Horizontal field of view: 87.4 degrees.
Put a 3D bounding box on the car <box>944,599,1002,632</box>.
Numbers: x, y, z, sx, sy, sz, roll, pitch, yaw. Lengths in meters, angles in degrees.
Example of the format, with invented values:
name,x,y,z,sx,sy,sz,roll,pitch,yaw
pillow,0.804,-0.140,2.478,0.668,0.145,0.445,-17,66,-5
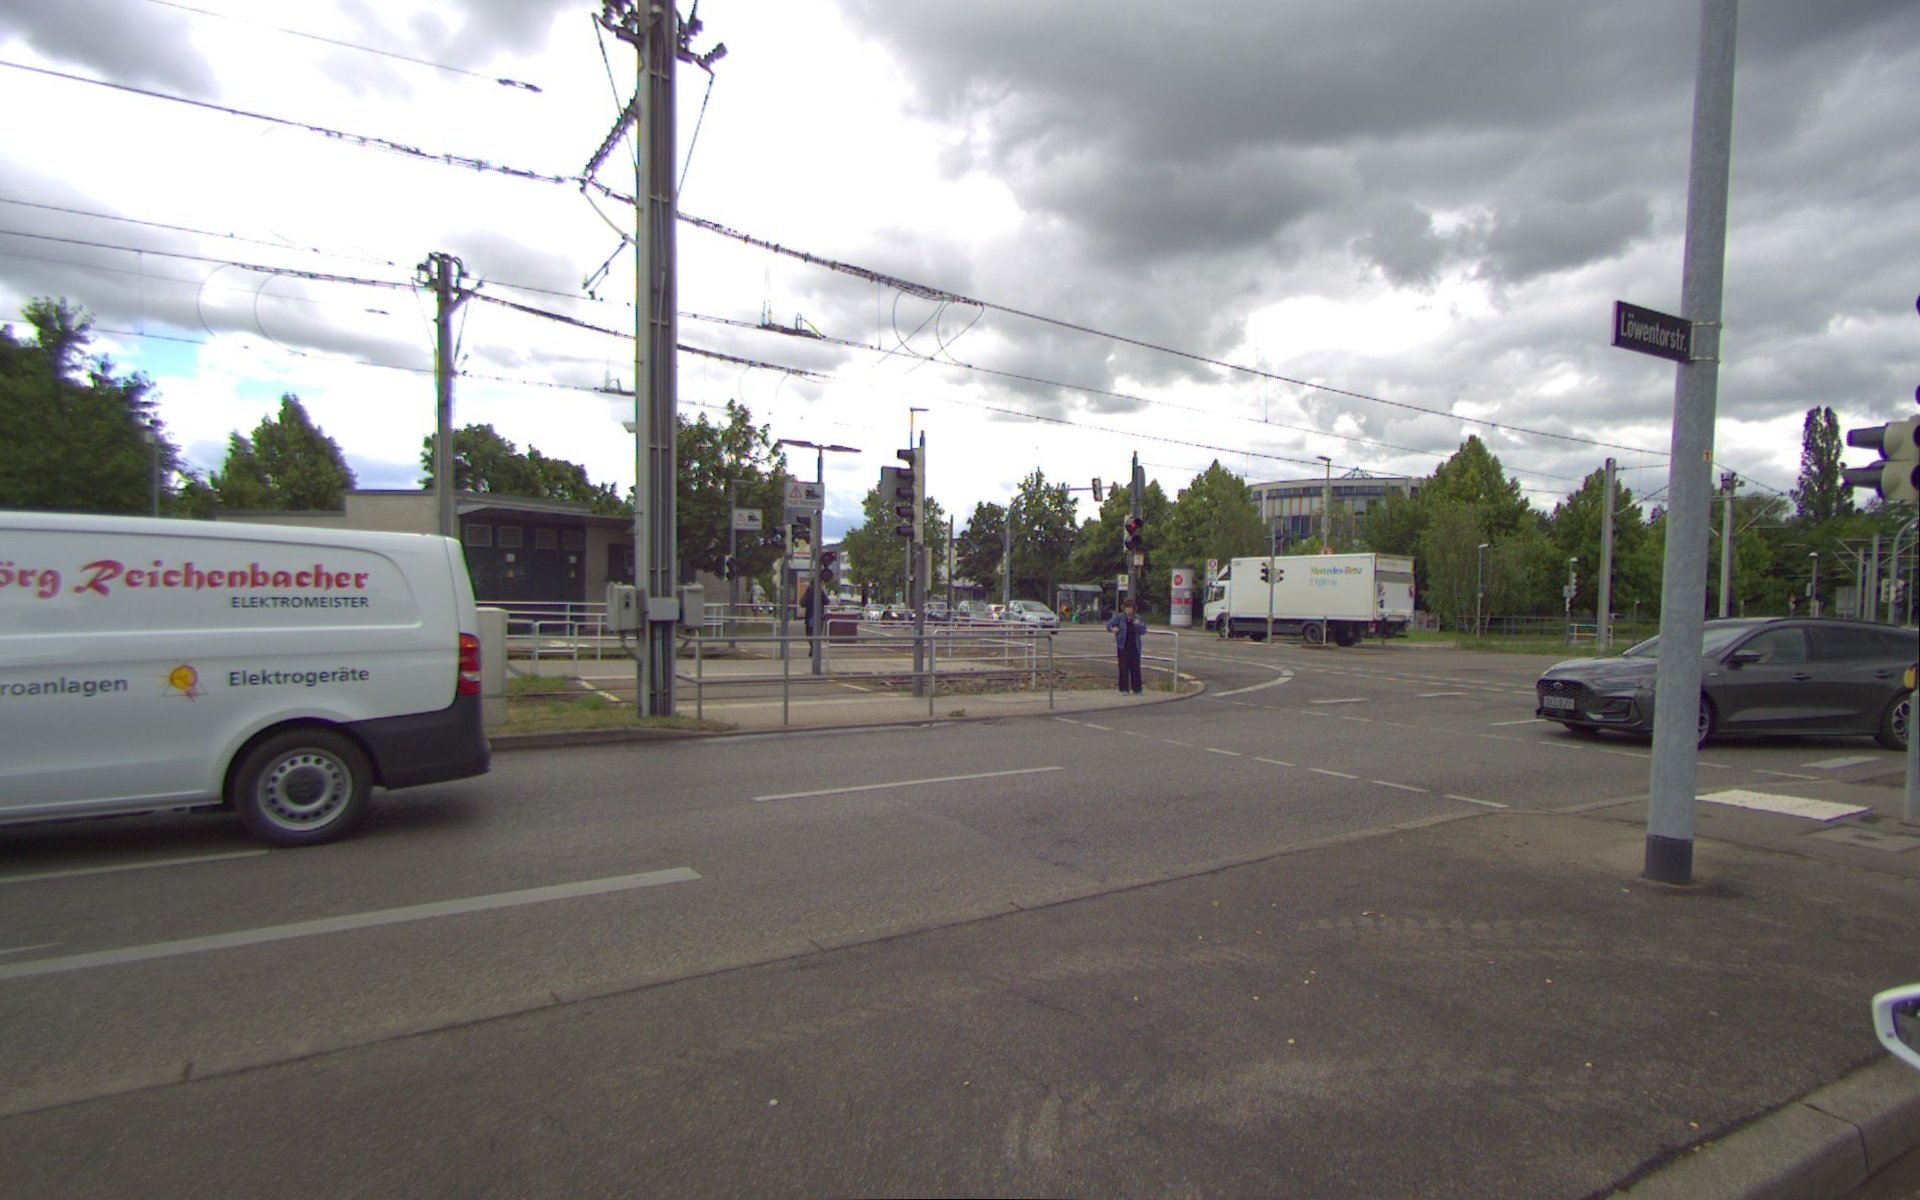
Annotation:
name,x,y,z,sx,sy,sz,roll,pitch,yaw
car,0.656,0.795,53.872,1.776,1.617,3.982,2,0,-20

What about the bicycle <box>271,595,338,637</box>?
name,x,y,z,sx,sy,sz,roll,pitch,yaw
bicycle,-17.395,0.409,26.651,1.778,1.045,0.536,2,0,21

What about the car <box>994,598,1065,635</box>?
name,x,y,z,sx,sy,sz,roll,pitch,yaw
car,3.187,0.734,46.905,1.848,1.617,3.982,2,0,-20

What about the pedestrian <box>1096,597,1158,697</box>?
name,x,y,z,sx,sy,sz,roll,pitch,yaw
pedestrian,2.686,0.743,16.205,0.712,1.557,0.630,2,0,-33

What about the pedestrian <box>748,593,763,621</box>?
name,x,y,z,sx,sy,sz,roll,pitch,yaw
pedestrian,-10.185,0.328,50.017,0.595,1.377,0.612,2,0,-27

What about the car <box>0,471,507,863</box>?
name,x,y,z,sx,sy,sz,roll,pitch,yaw
car,-5.604,0.323,5.769,5.309,1.990,1.906,2,0,-30

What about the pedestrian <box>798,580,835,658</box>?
name,x,y,z,sx,sy,sz,roll,pitch,yaw
pedestrian,-3.319,0.441,23.165,0.700,1.751,0.674,2,0,-19

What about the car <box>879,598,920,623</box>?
name,x,y,z,sx,sy,sz,roll,pitch,yaw
car,-4.220,0.722,69.169,1.776,1.617,3.982,2,0,-20

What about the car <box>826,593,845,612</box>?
name,x,y,z,sx,sy,sz,roll,pitch,yaw
car,-14.614,0.292,117.977,1.964,2.218,5.800,1,0,-9

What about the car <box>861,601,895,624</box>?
name,x,y,z,sx,sy,sz,roll,pitch,yaw
car,-6.288,0.922,76.852,1.775,1.617,3.985,2,0,-17

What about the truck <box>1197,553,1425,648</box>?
name,x,y,z,sx,sy,sz,roll,pitch,yaw
truck,14.526,-0.003,42.568,2.984,3.580,9.198,1,0,-33

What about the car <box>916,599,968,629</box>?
name,x,y,z,sx,sy,sz,roll,pitch,yaw
car,-1.075,0.762,58.045,1.776,1.617,3.982,2,0,-20

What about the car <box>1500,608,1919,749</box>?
name,x,y,z,sx,sy,sz,roll,pitch,yaw
car,9.153,0.888,12.039,4.346,1.443,1.876,2,0,-2

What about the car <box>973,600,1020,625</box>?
name,x,y,z,sx,sy,sz,roll,pitch,yaw
car,2.538,0.854,70.263,2.015,1.617,3.983,2,0,-18

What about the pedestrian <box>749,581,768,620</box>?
name,x,y,z,sx,sy,sz,roll,pitch,yaw
pedestrian,-8.287,0.027,41.322,0.633,1.557,0.521,2,0,-2
